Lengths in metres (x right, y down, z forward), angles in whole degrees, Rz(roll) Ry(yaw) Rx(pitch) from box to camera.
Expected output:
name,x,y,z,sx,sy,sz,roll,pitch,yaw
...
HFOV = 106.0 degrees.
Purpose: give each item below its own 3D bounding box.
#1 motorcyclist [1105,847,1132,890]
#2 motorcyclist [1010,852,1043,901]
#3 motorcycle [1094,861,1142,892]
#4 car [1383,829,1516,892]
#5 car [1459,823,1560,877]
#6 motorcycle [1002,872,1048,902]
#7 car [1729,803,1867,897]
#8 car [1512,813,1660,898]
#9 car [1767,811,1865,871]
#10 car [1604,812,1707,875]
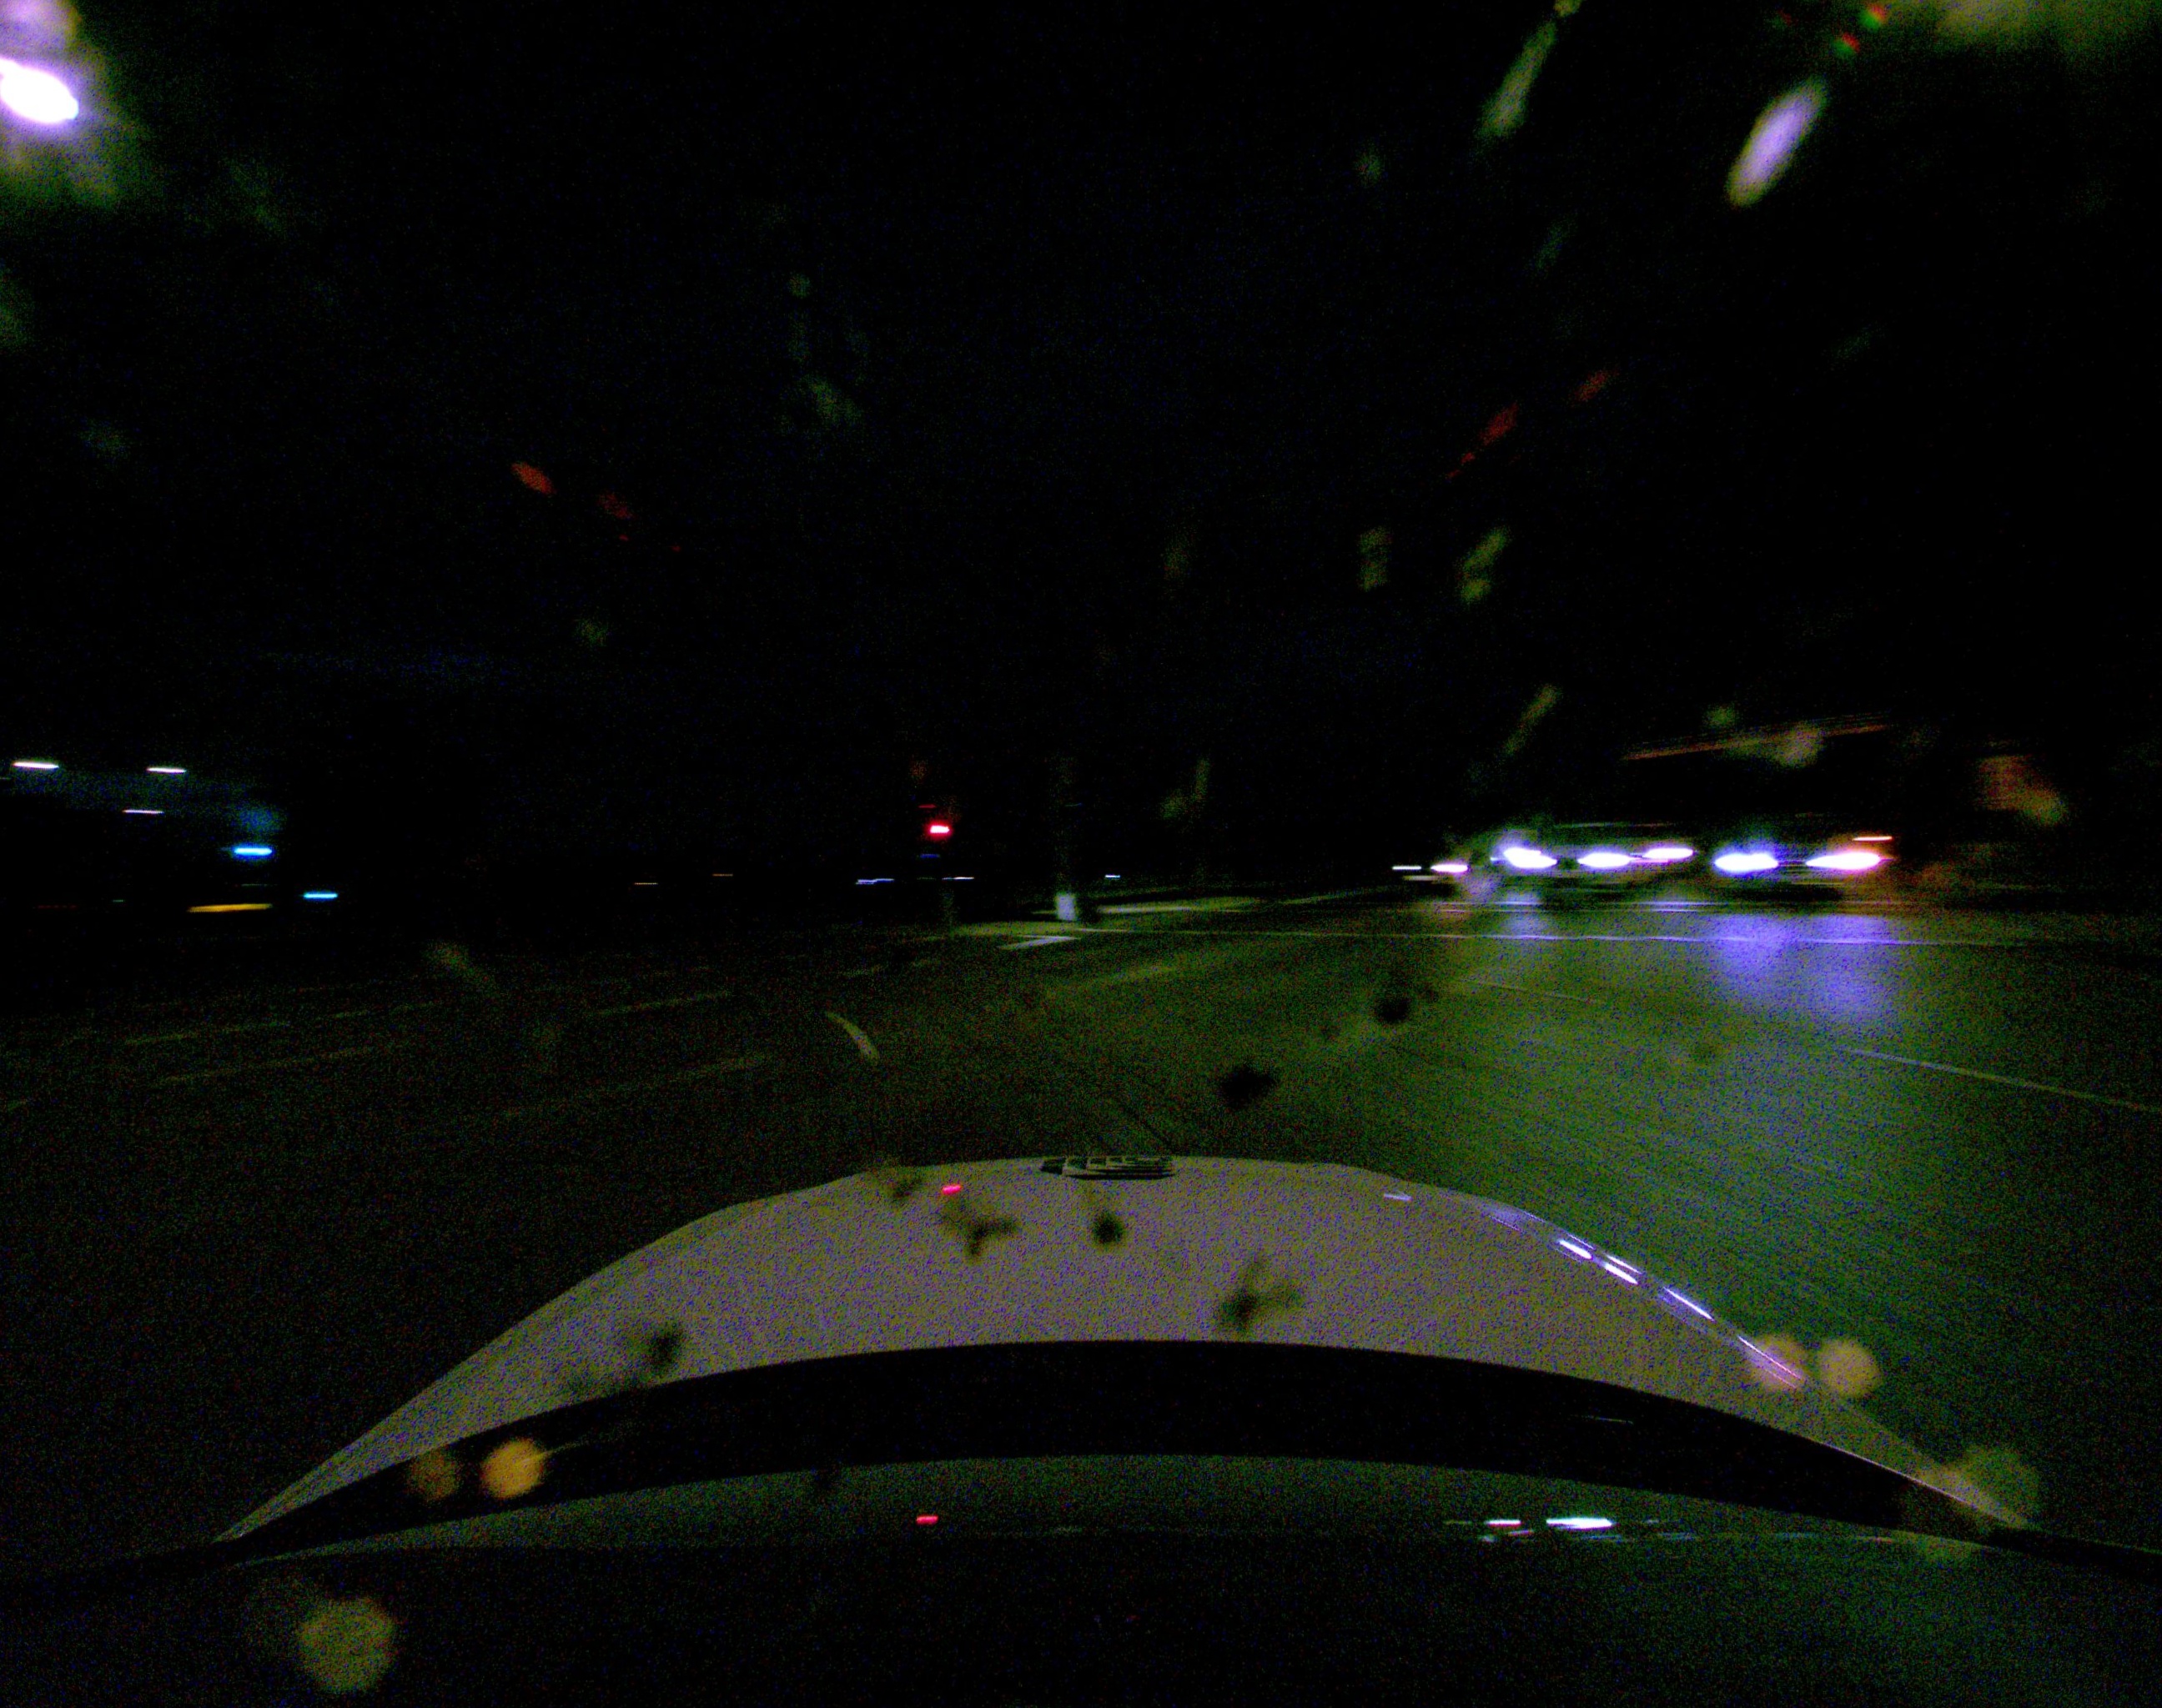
name,x,y,z,sx,sy,sz,roll,pitch,yaw
motorcyclist,1.598,0.640,34.871,0.793,1.759,0.676,-1,-5,-36
motorcyclist,-2.136,0.886,31.921,0.872,1.809,0.909,-2,-6,-27
motorcycle,1.582,0.951,34.823,1.829,1.181,0.840,-1,-5,-36
car,10.017,0.140,21.989,4.316,1.445,1.764,-3,1,-44
car,14.077,-0.149,26.668,1.814,1.524,4.024,-4,0,44
motorcycle,-2.175,1.274,31.823,1.581,1.033,0.716,-2,-6,-29
car,14.596,-0.143,16.479,1.834,1.633,4.613,-3,1,44
car,11.677,-0.024,18.693,1.891,1.682,4.446,-2,1,45
car,20.041,-0.383,22.144,1.757,1.481,3.933,-2,1,45
car,17.010,-0.337,24.031,1.729,1.626,4.389,-3,1,45
